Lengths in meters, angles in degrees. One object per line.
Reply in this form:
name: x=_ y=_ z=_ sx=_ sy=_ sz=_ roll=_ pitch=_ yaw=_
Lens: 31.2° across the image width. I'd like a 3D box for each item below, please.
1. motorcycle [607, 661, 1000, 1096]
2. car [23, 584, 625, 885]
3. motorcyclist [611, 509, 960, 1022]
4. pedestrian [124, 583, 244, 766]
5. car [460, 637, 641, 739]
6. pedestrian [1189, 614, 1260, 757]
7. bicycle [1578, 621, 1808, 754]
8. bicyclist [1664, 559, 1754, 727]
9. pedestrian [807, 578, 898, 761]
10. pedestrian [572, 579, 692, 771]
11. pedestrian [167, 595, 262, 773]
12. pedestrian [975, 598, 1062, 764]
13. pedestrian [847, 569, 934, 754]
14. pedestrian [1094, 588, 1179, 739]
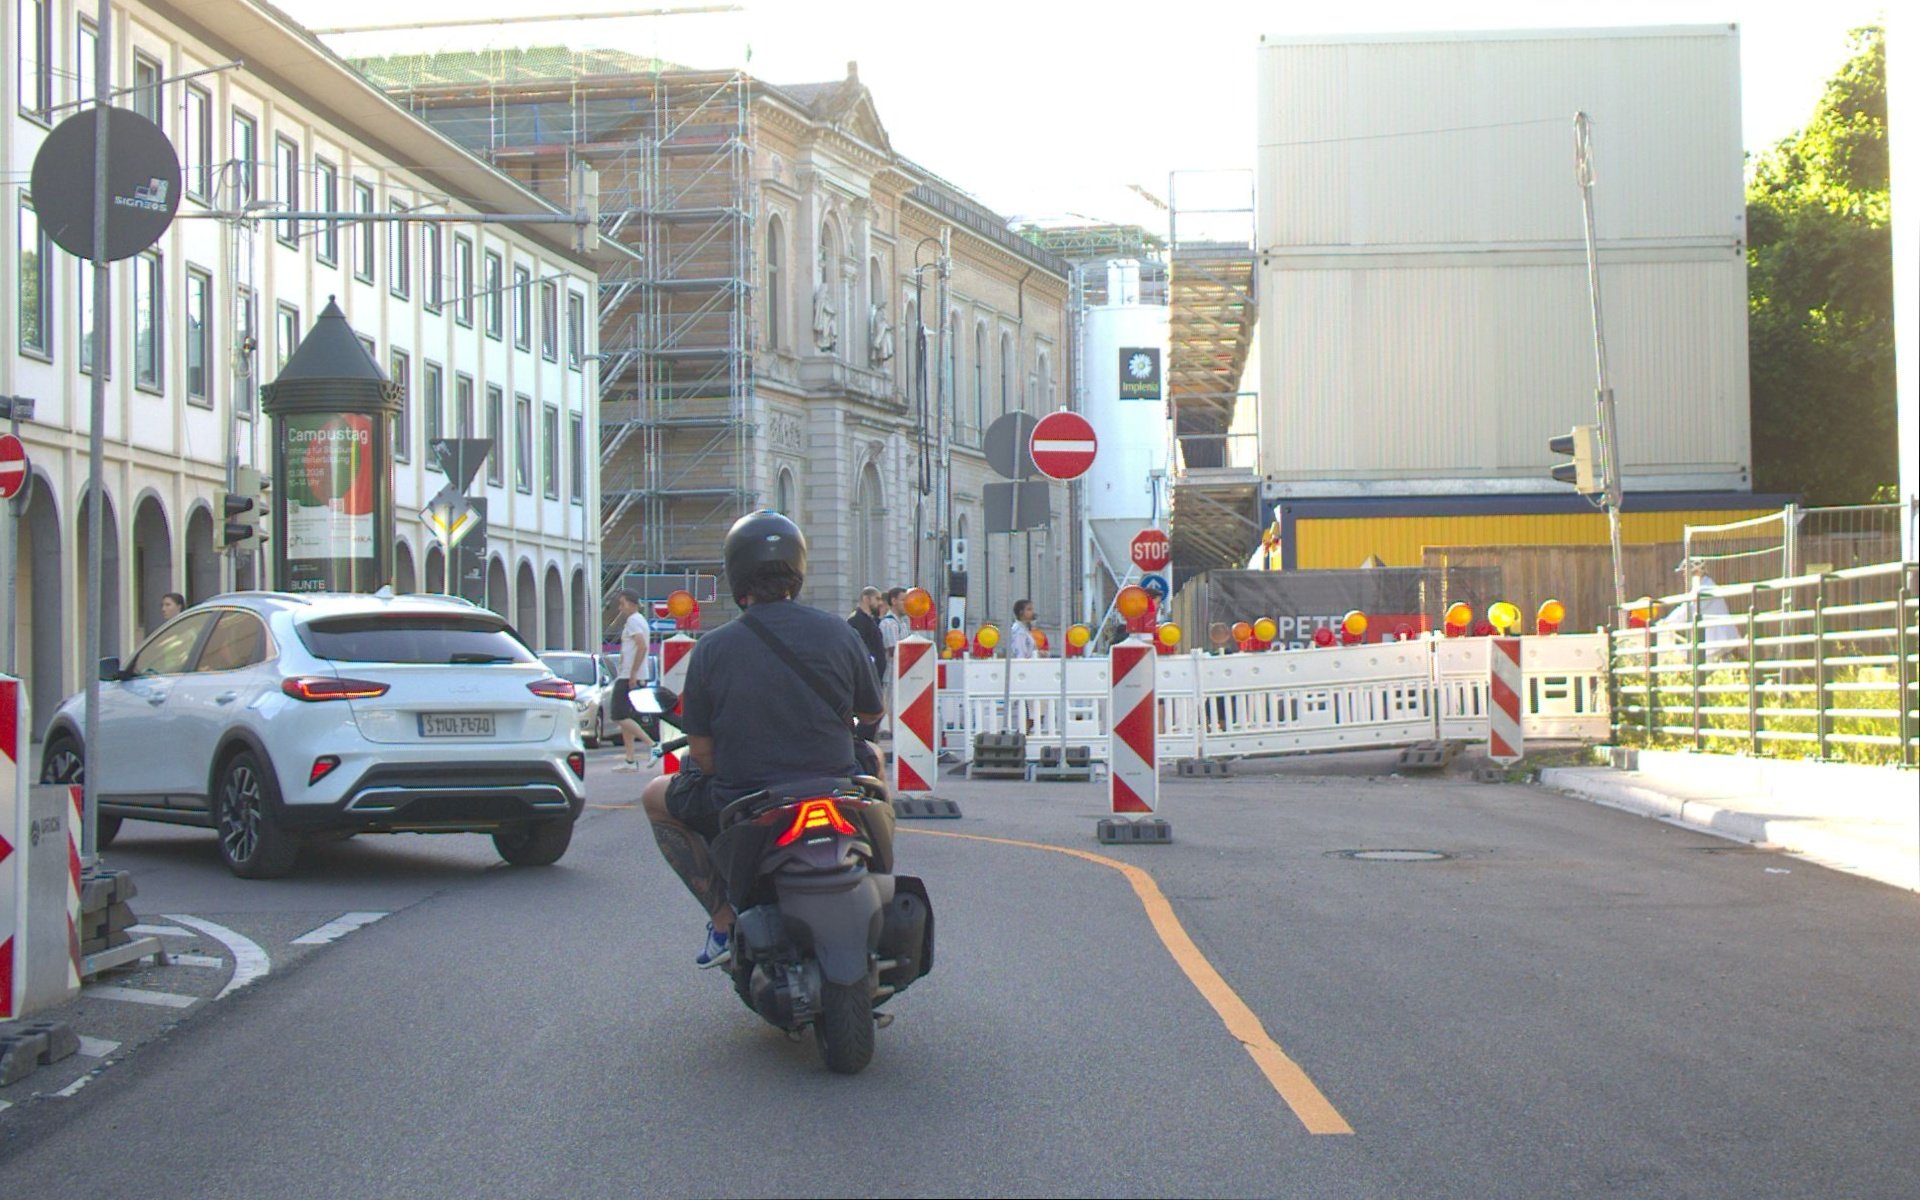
motorcycle: x=-0.576 y=0.819 z=11.168 sx=0.905 sy=1.179 sz=2.579 roll=-1 pitch=0 yaw=-11
car: x=-3.649 y=0.671 z=19.193 sx=1.859 sy=1.467 sz=4.000 roll=1 pitch=0 yaw=-34
motorcyclist: x=-0.592 y=0.500 z=11.160 sx=0.953 sy=1.554 sz=1.239 roll=-1 pitch=0 yaw=-11
pedestrian: x=-7.355 y=0.699 z=32.614 sx=0.965 sy=1.704 sz=0.675 roll=0 pitch=2 yaw=1
car: x=-6.213 y=1.371 z=52.595 sx=1.925 sy=1.461 sz=3.999 roll=1 pitch=-2 yaw=5
pedestrian: x=2.461 y=0.791 z=32.009 sx=0.618 sy=1.295 sz=0.493 roll=2 pitch=0 yaw=4
bicycle: x=6.661 y=0.797 z=31.286 sx=1.992 sy=1.197 sz=0.477 roll=0 pitch=-1 yaw=4
bicyclist: x=6.816 y=0.393 z=31.302 sx=0.702 sy=1.511 sz=0.686 roll=0 pitch=-1 yaw=4
pedestrian: x=-1.023 y=0.660 z=32.804 sx=0.737 sy=1.710 sz=0.621 roll=-2 pitch=-1 yaw=5
pedestrian: x=-3.032 y=0.692 z=31.859 sx=0.974 sy=1.723 sz=0.798 roll=-2 pitch=-2 yaw=1
pedestrian: x=-6.899 y=0.774 z=31.848 sx=0.724 sy=1.618 sz=0.620 roll=0 pitch=2 yaw=1
pedestrian: x=0.586 y=0.799 z=34.305 sx=0.768 sy=1.613 sz=0.666 roll=-2 pitch=-1 yaw=5
pedestrian: x=-0.675 y=0.601 z=33.576 sx=0.737 sy=1.765 sz=0.621 roll=-2 pitch=-1 yaw=5
pedestrian: x=1.759 y=0.628 z=34.160 sx=0.768 sy=1.457 sz=0.666 roll=-2 pitch=-1 yaw=5
